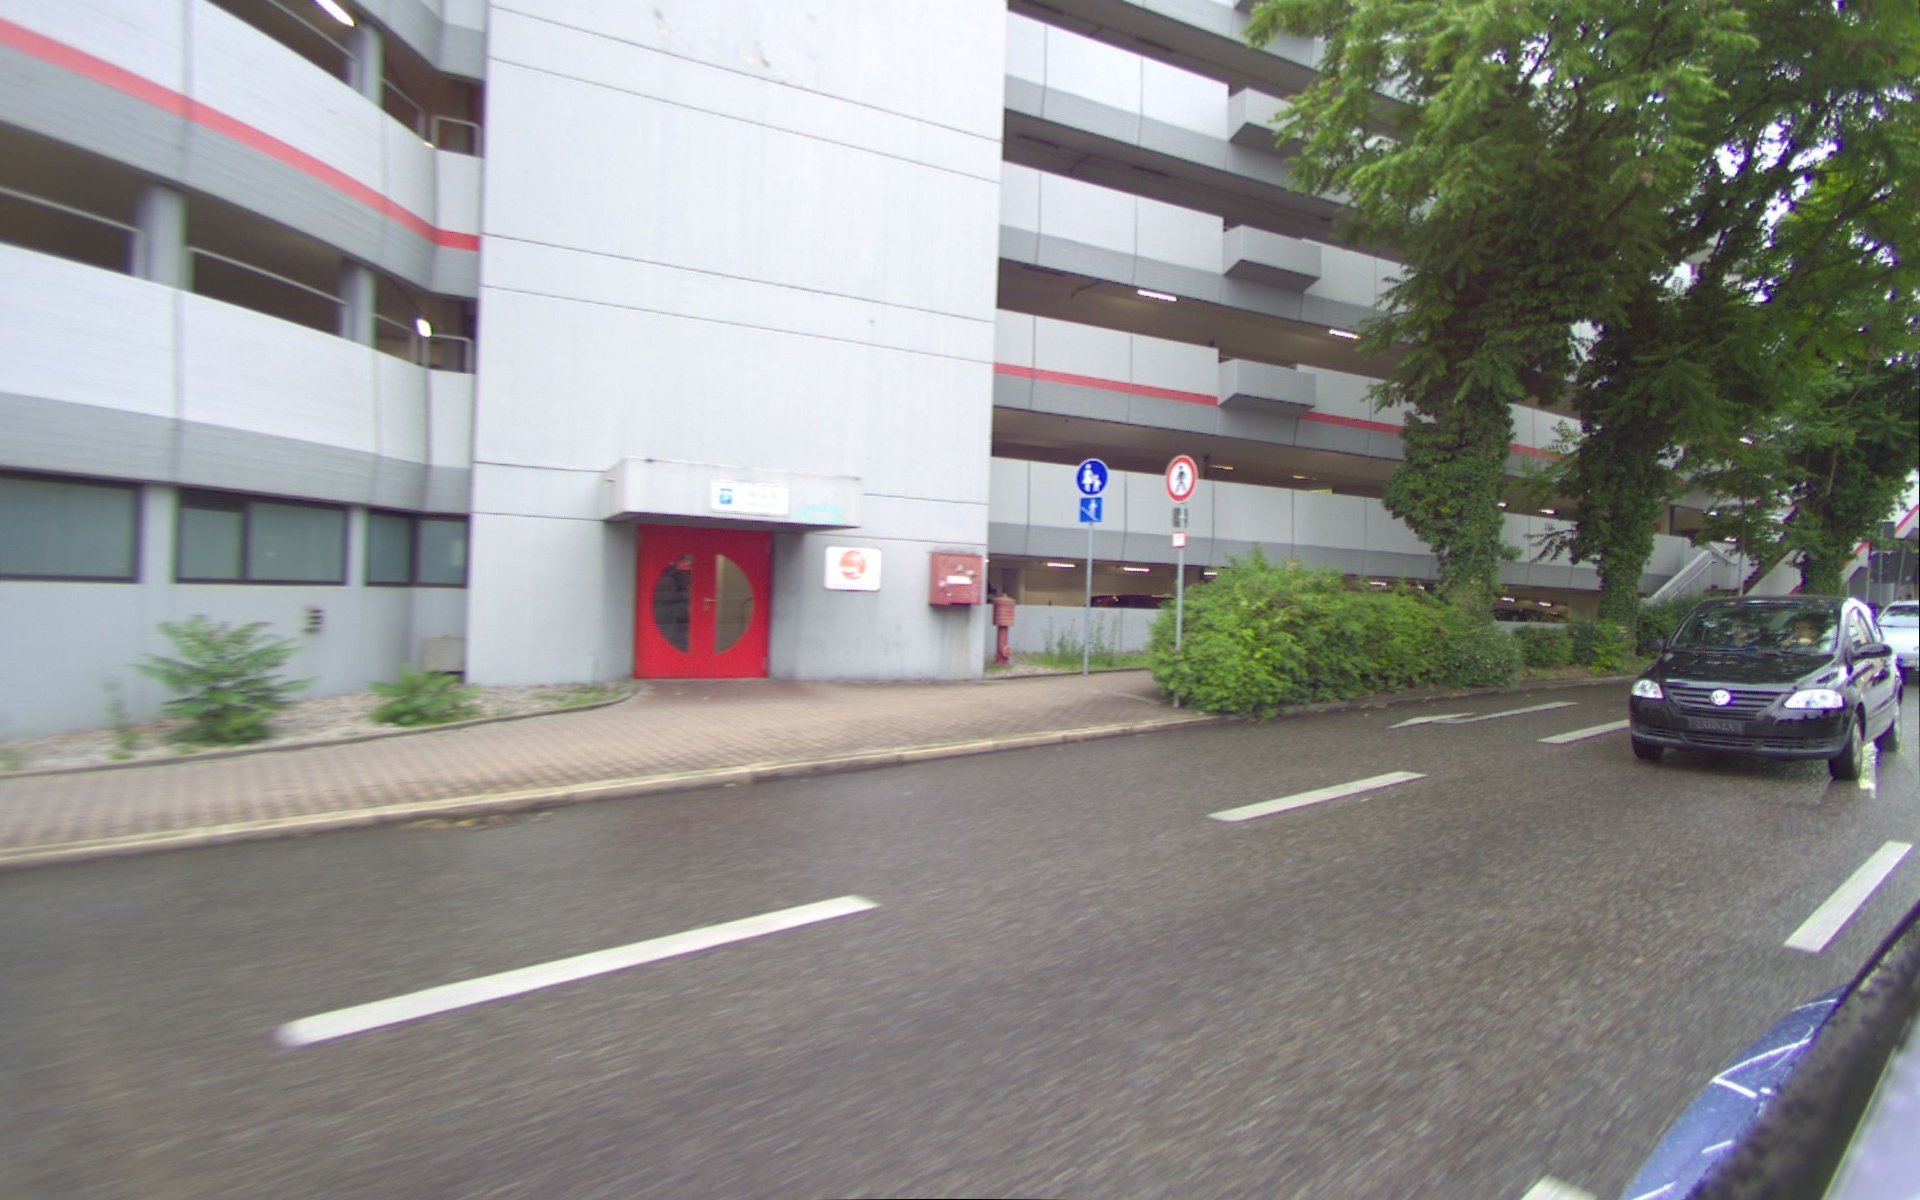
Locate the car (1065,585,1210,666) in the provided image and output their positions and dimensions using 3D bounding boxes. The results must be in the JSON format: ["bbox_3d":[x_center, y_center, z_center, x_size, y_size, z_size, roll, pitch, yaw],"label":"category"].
[{"bbox_3d":[4.275,0.546,24.902,1.779,1.805,3.472,0,1,-27],"label":"car"}]

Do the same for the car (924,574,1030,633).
[{"bbox_3d":[0.485,0.062,33.050,1.779,1.805,4.006,0,1,-27],"label":"car"}]

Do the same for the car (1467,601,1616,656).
[{"bbox_3d":[18.729,0.893,32.730,1.775,1.560,3.746,4,-1,-34],"label":"car"}]

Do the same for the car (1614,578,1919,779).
[{"bbox_3d":[7.908,0.615,9.700,3.919,1.545,1.682,0,-1,-40],"label":"car"}]

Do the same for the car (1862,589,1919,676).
[{"bbox_3d":[18.369,0.544,18.794,3.967,1.470,1.913,-2,1,-41],"label":"car"}]

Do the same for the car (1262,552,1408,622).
[{"bbox_3d":[10.213,-0.374,27.784,1.779,1.805,3.472,0,1,-27],"label":"car"}]

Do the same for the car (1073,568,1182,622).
[{"bbox_3d":[5.860,-0.221,35.877,1.779,1.805,4.006,0,1,-27],"label":"car"}]
